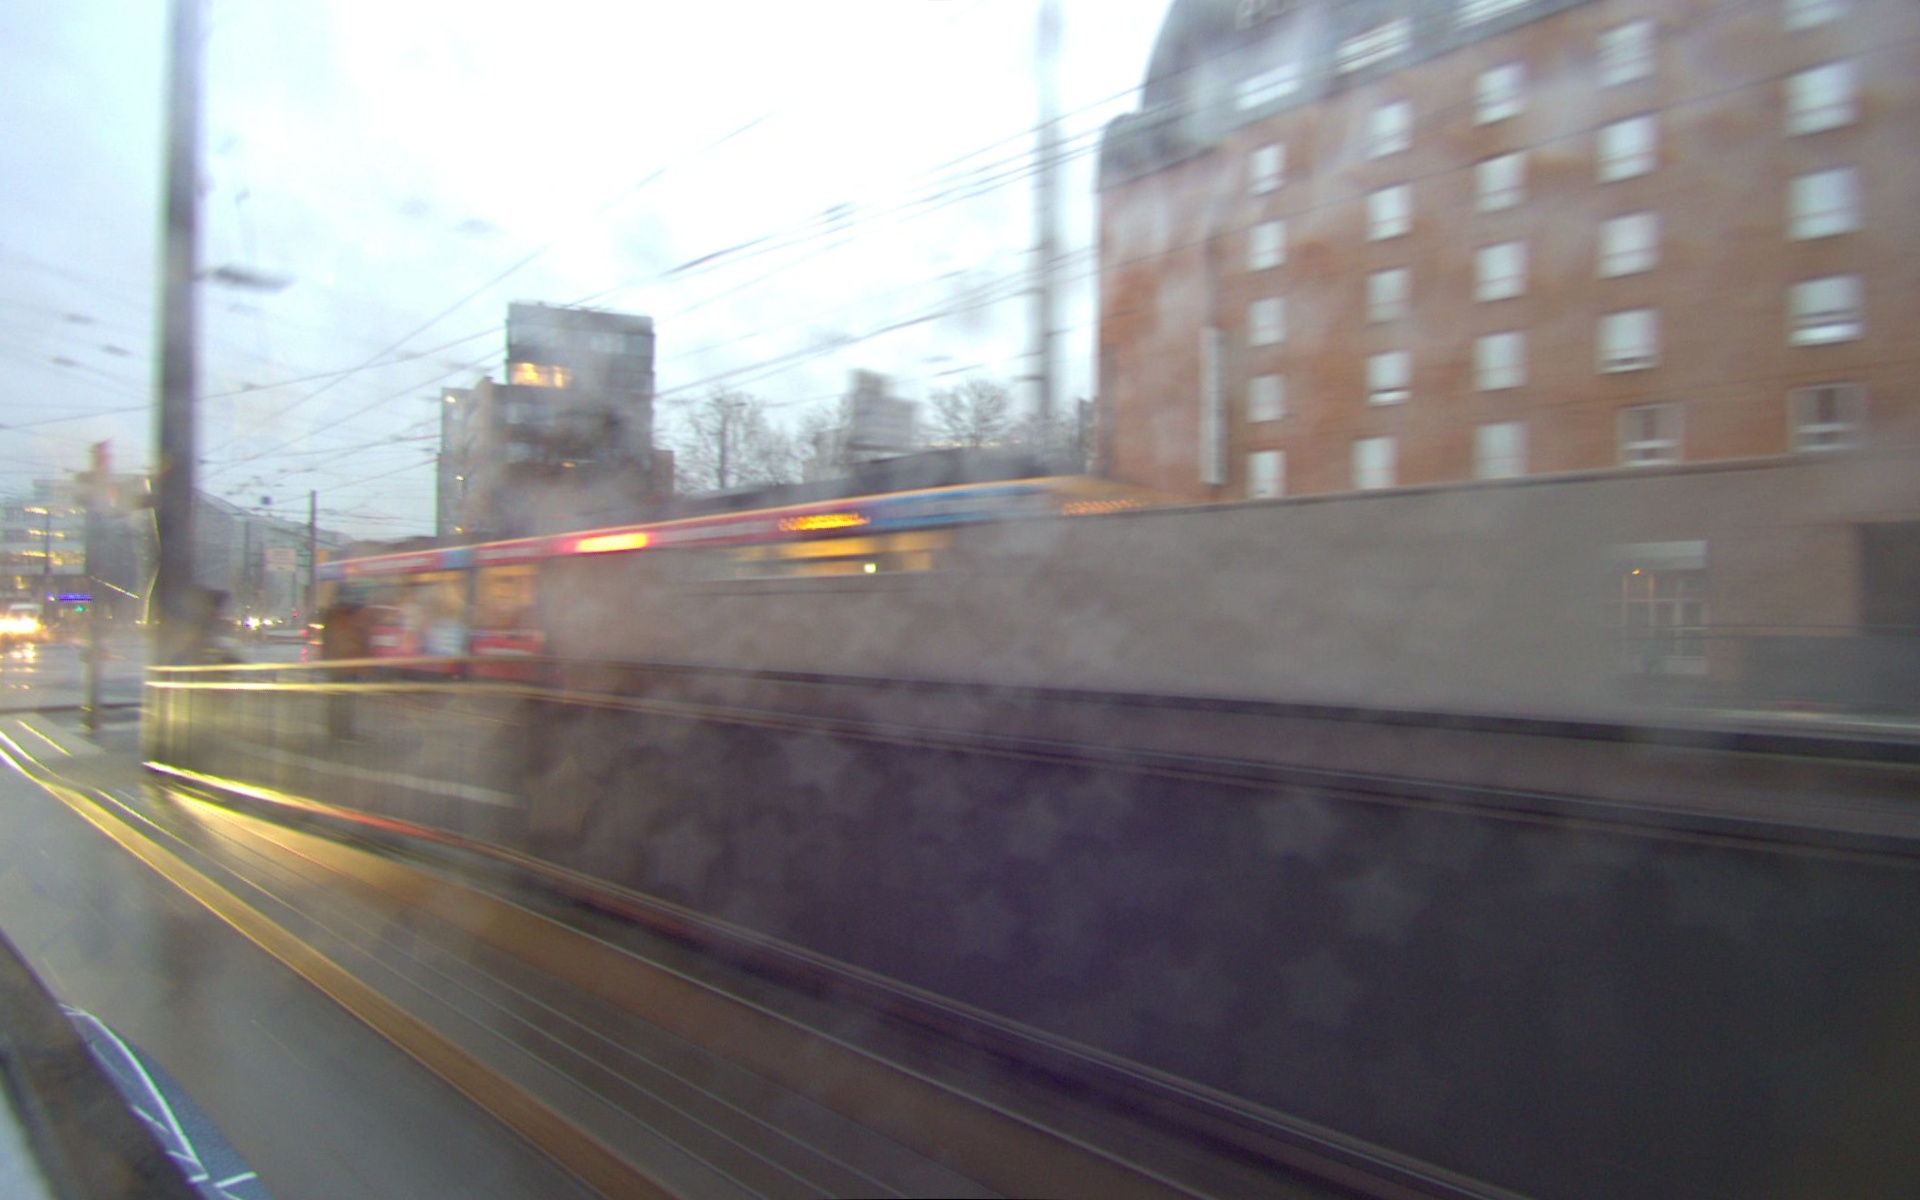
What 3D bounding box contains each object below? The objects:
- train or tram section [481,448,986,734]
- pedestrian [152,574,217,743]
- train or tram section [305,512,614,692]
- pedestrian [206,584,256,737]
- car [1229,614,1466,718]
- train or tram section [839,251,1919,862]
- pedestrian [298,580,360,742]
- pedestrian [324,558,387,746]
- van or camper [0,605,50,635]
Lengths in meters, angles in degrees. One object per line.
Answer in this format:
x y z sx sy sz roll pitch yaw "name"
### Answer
-4.623 -0.048 17.610 11.036 3.605 2.893 -1 -1 43 "train or tram section"
-8.839 0.649 11.537 0.669 1.859 0.408 -1 -2 38 "pedestrian"
-13.137 0.119 25.595 12.256 3.616 2.918 -1 -1 43 "train or tram section"
-8.798 0.714 12.217 0.439 1.800 0.356 -1 -2 38 "pedestrian"
6.290 0.995 16.615 3.324 1.528 1.501 -1 -1 42 "car"
3.476 -0.203 9.987 11.036 3.595 2.868 -1 -1 43 "train or tram section"
-7.020 0.666 11.260 0.473 1.748 0.429 -1 -2 38 "pedestrian"
-6.572 0.555 11.000 0.473 1.982 0.429 -1 -2 38 "pedestrian"
-78.629 1.664 85.147 2.150 2.370 5.665 -1 -1 -33 "van or camper"
